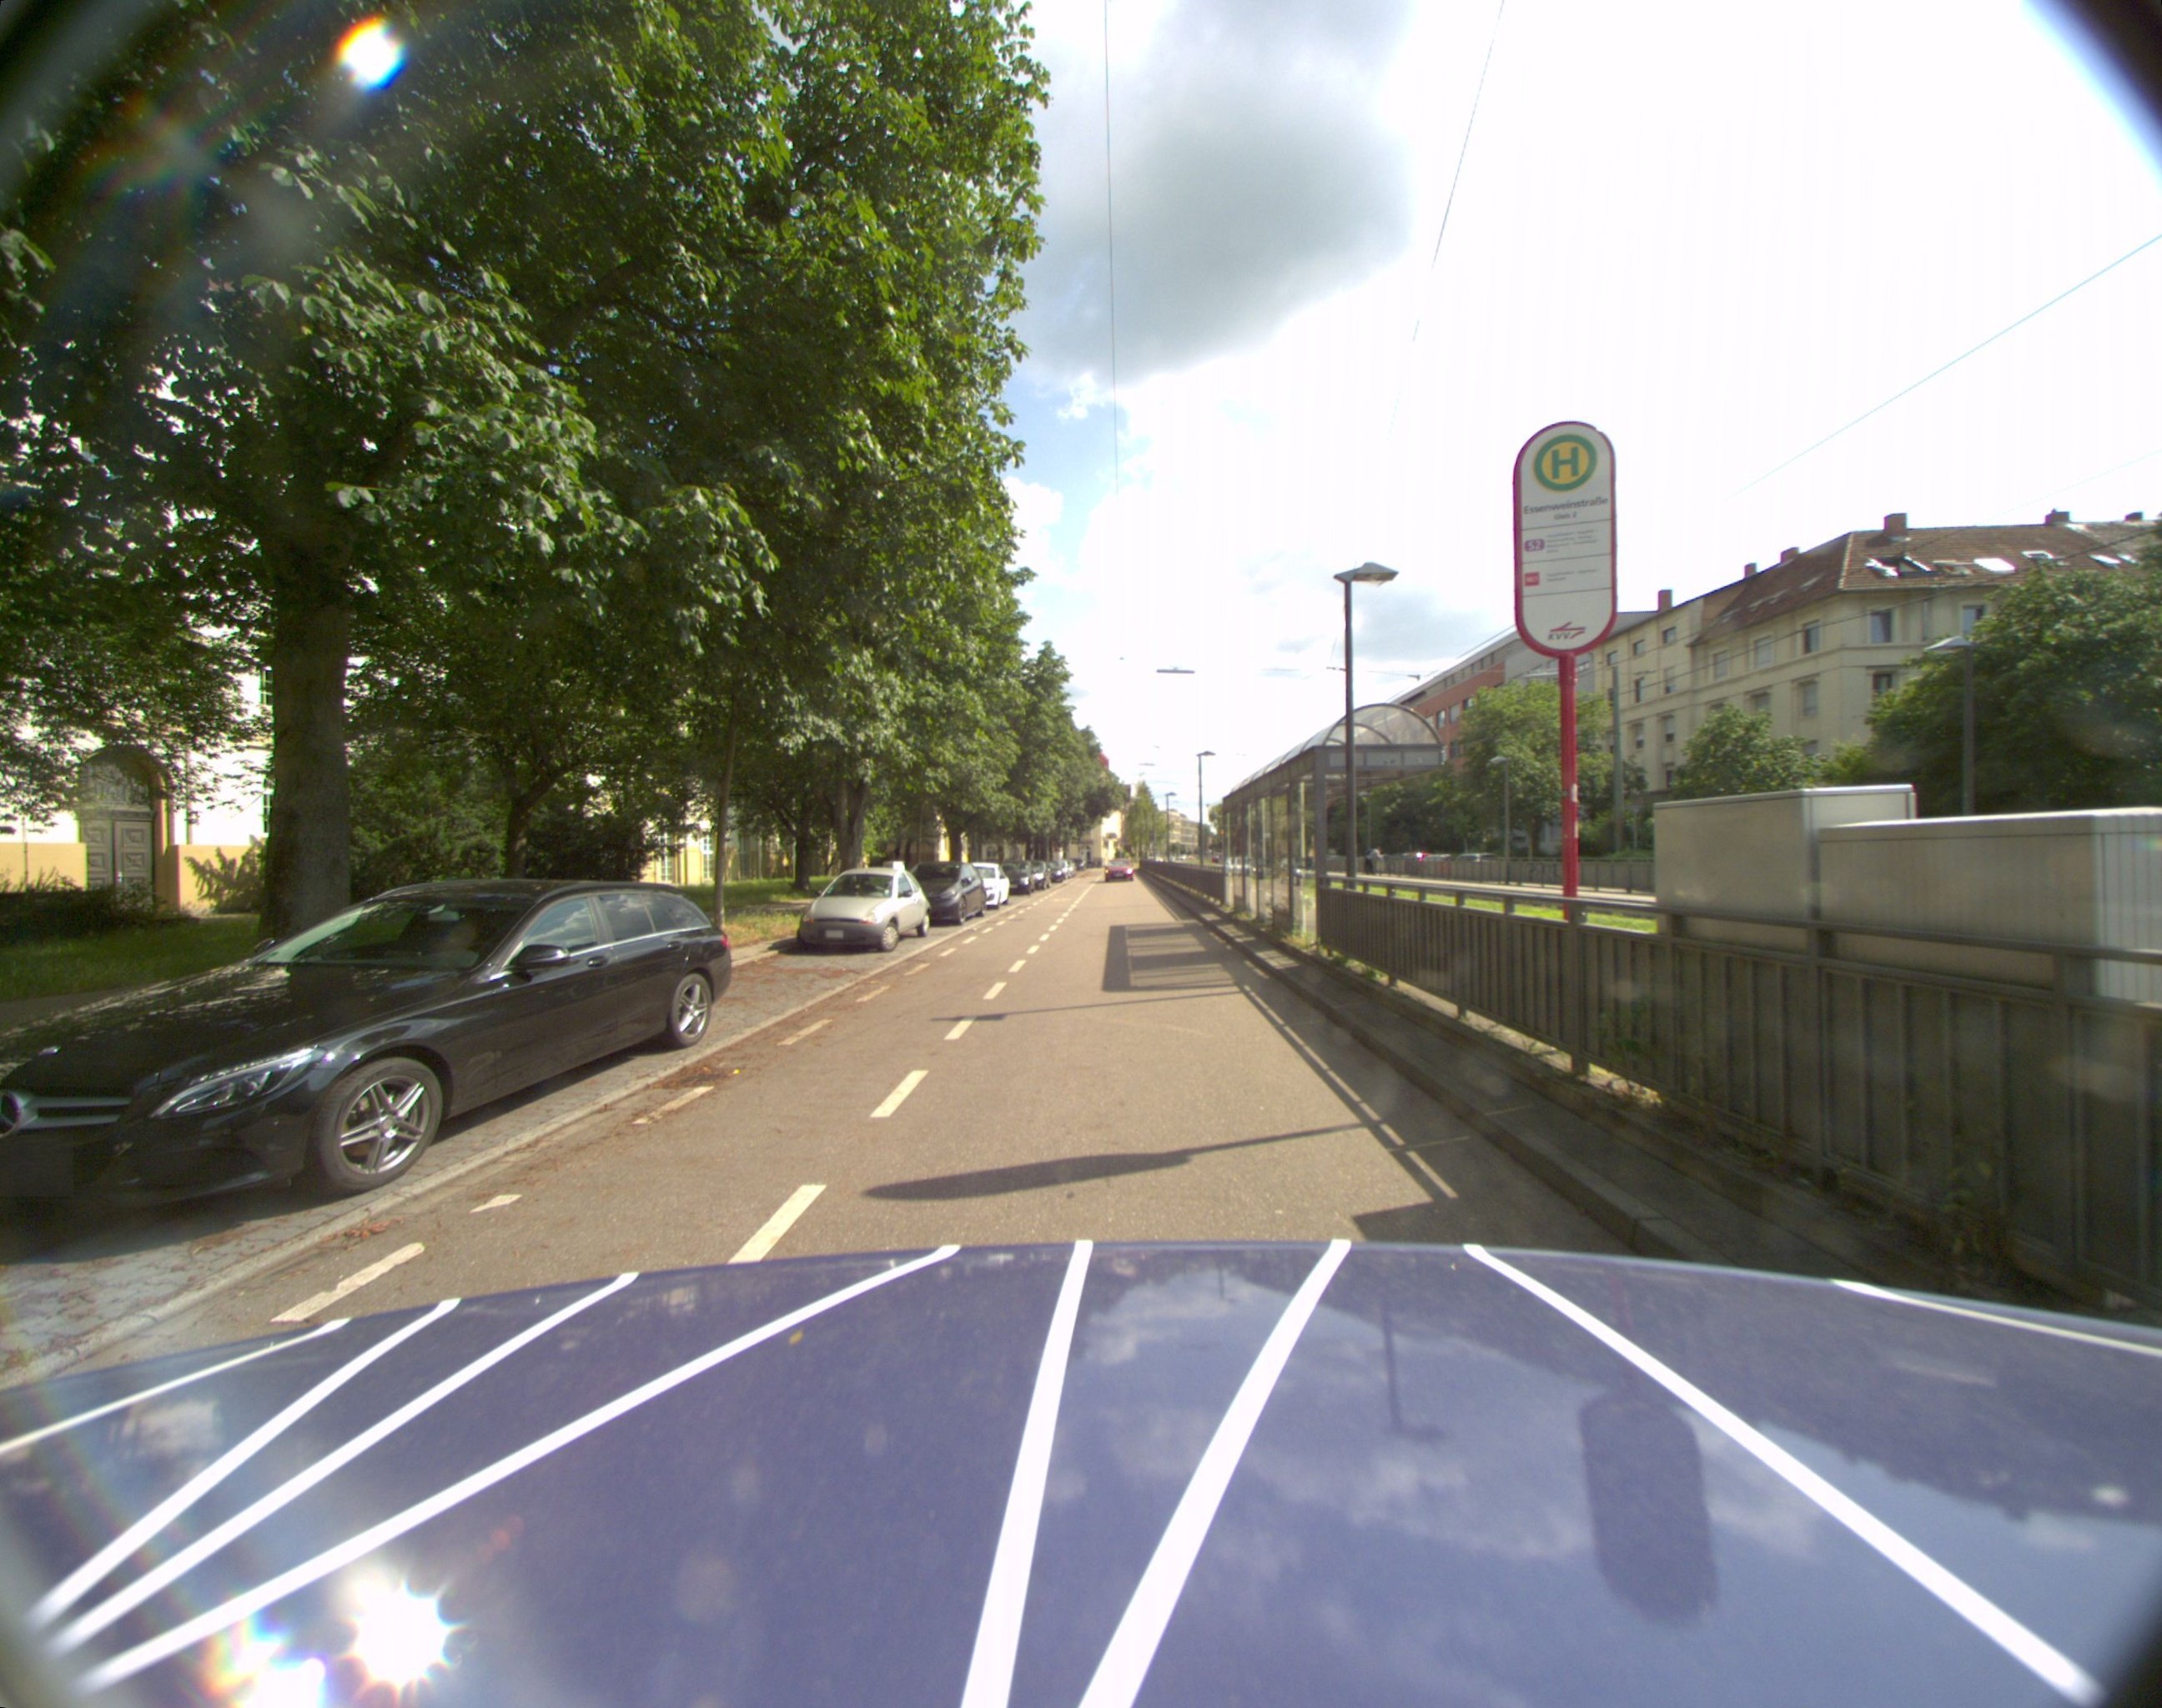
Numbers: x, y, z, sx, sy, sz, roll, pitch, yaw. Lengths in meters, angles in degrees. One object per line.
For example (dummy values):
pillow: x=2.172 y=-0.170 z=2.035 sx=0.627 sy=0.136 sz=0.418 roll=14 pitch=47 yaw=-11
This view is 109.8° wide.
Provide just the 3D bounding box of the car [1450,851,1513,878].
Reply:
car: x=24.795 y=0.624 z=47.012 sx=4.161 sy=1.556 sz=1.921 roll=-1 pitch=1 yaw=-38

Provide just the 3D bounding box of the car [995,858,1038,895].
car: x=-2.835 y=0.966 z=34.069 sx=1.559 sy=1.452 sz=3.558 roll=2 pitch=1 yaw=0

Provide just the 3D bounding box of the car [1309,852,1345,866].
car: x=27.147 y=0.515 z=83.818 sx=4.007 sy=1.487 sz=1.647 roll=-1 pitch=0 yaw=-34

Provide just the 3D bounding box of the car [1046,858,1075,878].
car: x=-1.482 y=1.014 z=56.773 sx=1.639 sy=1.423 sz=4.016 roll=2 pitch=0 yaw=5

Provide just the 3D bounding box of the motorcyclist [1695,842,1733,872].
motorcyclist: x=29.155 y=0.138 z=34.992 sx=0.940 sy=1.331 sz=0.987 roll=0 pitch=0 yaw=4

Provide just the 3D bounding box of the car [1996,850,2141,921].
car: x=23.519 y=0.680 z=18.069 sx=4.006 sy=1.477 sz=1.606 roll=-1 pitch=0 yaw=-30

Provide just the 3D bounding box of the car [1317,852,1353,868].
car: x=25.783 y=0.590 z=77.199 sx=3.316 sy=1.412 sz=1.581 roll=-3 pitch=1 yaw=-27

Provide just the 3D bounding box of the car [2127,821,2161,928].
car: x=22.928 y=0.360 z=15.074 sx=3.957 sy=2.058 sz=2.045 roll=-1 pitch=0 yaw=-28

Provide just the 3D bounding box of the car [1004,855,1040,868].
car: x=-8.588 y=1.080 z=111.347 sx=4.827 sy=1.646 sz=1.858 roll=-1 pitch=2 yaw=13

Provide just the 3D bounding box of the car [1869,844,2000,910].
car: x=23.369 y=0.588 z=20.775 sx=4.007 sy=1.630 sz=1.823 roll=-1 pitch=-1 yaw=-34

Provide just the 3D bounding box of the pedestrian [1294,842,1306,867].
pedestrian: x=15.751 y=0.023 z=54.742 sx=0.607 sy=1.744 sz=0.626 roll=0 pitch=2 yaw=43

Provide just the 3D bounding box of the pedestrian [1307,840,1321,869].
pedestrian: x=15.363 y=0.019 z=50.051 sx=0.752 sy=1.881 sz=0.639 roll=-1 pitch=3 yaw=5

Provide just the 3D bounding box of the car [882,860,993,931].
car: x=-3.572 y=0.966 z=19.746 sx=1.729 sy=1.574 sz=4.678 roll=0 pitch=0 yaw=3

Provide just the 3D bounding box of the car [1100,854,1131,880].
car: x=2.186 y=0.817 z=48.074 sx=1.790 sy=1.499 sz=4.001 roll=-2 pitch=0 yaw=3

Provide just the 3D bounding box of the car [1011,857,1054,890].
car: x=-2.429 y=0.949 z=39.252 sx=1.694 sy=1.552 sz=4.308 roll=2 pitch=0 yaw=3

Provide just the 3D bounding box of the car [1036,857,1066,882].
car: x=-1.948 y=0.972 z=50.843 sx=1.836 sy=1.458 sz=4.830 roll=1 pitch=1 yaw=-1

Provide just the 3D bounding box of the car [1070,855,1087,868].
car: x=-0.275 y=0.861 z=89.213 sx=1.689 sy=1.379 sz=3.924 roll=0 pitch=1 yaw=3

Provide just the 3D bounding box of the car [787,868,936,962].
car: x=-3.967 y=1.045 z=14.347 sx=1.594 sy=1.436 sz=3.598 roll=1 pitch=1 yaw=3

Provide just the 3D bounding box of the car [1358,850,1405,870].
car: x=25.848 y=0.529 z=65.264 sx=4.006 sy=1.520 sz=1.669 roll=-3 pitch=0 yaw=-34

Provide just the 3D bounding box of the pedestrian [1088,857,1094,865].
pedestrian: x=1.523 y=1.041 z=112.844 sx=0.804 sy=1.238 sz=0.892 roll=-1 pitch=2 yaw=5

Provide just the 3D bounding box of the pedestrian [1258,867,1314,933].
pedestrian: x=3.459 y=0.757 z=12.808 sx=0.662 sy=1.066 sz=0.725 roll=-1 pitch=0 yaw=37

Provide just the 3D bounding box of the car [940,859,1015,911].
car: x=-3.352 y=0.974 z=25.343 sx=1.840 sy=1.514 sz=4.253 roll=1 pitch=0 yaw=0

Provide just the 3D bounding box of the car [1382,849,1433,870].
car: x=25.620 y=0.436 z=59.555 sx=4.006 sy=1.559 sz=1.606 roll=-1 pitch=0 yaw=-31

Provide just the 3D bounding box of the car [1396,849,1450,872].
car: x=25.519 y=0.449 z=56.661 sx=4.144 sy=1.630 sz=1.829 roll=-1 pitch=1 yaw=-37

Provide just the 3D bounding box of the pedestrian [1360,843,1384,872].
pedestrian: x=15.762 y=0.173 z=41.216 sx=0.991 sy=1.569 sz=0.798 roll=-1 pitch=1 yaw=0

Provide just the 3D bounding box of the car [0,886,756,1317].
car: x=-4.349 y=1.060 z=5.351 sx=1.922 sy=1.433 sz=4.797 roll=1 pitch=0 yaw=2
